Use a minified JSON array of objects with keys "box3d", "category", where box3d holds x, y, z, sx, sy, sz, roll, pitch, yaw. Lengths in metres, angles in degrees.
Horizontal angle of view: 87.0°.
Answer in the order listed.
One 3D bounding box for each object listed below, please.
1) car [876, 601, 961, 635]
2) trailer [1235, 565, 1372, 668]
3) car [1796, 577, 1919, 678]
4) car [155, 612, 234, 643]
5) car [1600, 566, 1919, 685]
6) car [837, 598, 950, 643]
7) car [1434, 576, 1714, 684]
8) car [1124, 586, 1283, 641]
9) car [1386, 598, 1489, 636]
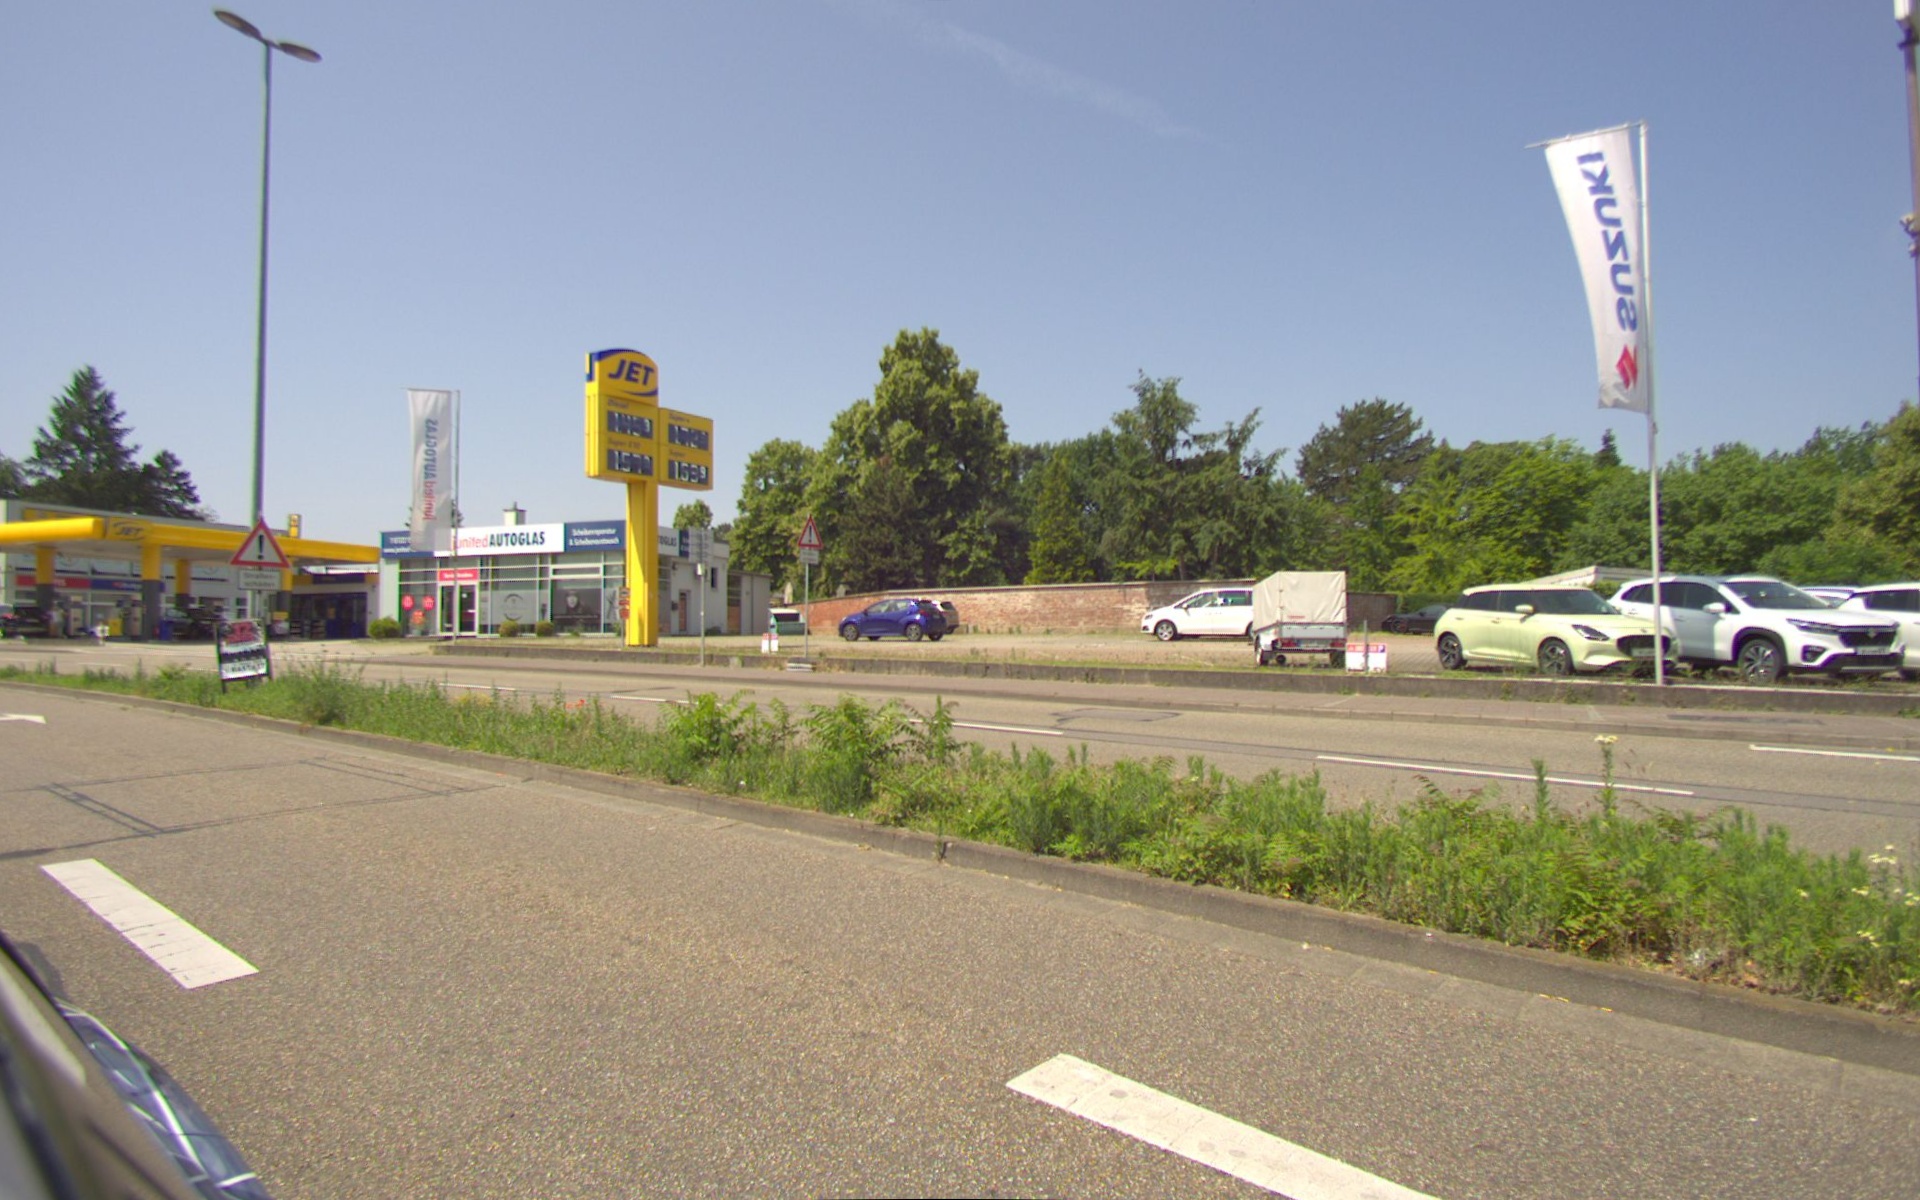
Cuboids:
[{"box3d":[-1.905,0.821,46.516,3.612,1.517,1.605,-1,-1,27],"category":"car"},{"box3d":[6.082,0.291,18.167,1.671,1.717,2.433,-1,-1,2],"category":"trailer"},{"box3d":[14.469,0.400,14.317,1.689,1.443,3.969,1,0,-7],"category":"car"},{"box3d":[-40.527,1.448,53.571,4.190,1.554,1.643,-1,0,26],"category":"car"},{"box3d":[12.043,0.331,15.324,1.889,1.552,3.968,-1,0,-6],"category":"car"},{"box3d":[-2.325,0.715,35.359,3.612,1.517,1.679,-1,-1,27],"category":"car"},{"box3d":[9.662,0.427,16.314,1.729,1.521,3.828,-1,0,-10],"category":"car"},{"box3d":[7.790,0.442,32.466,4.730,1.662,1.680,-1,-1,25],"category":"car"},{"box3d":[18.042,0.617,38.248,3.341,1.384,1.637,-1,0,34],"category":"car"}]
